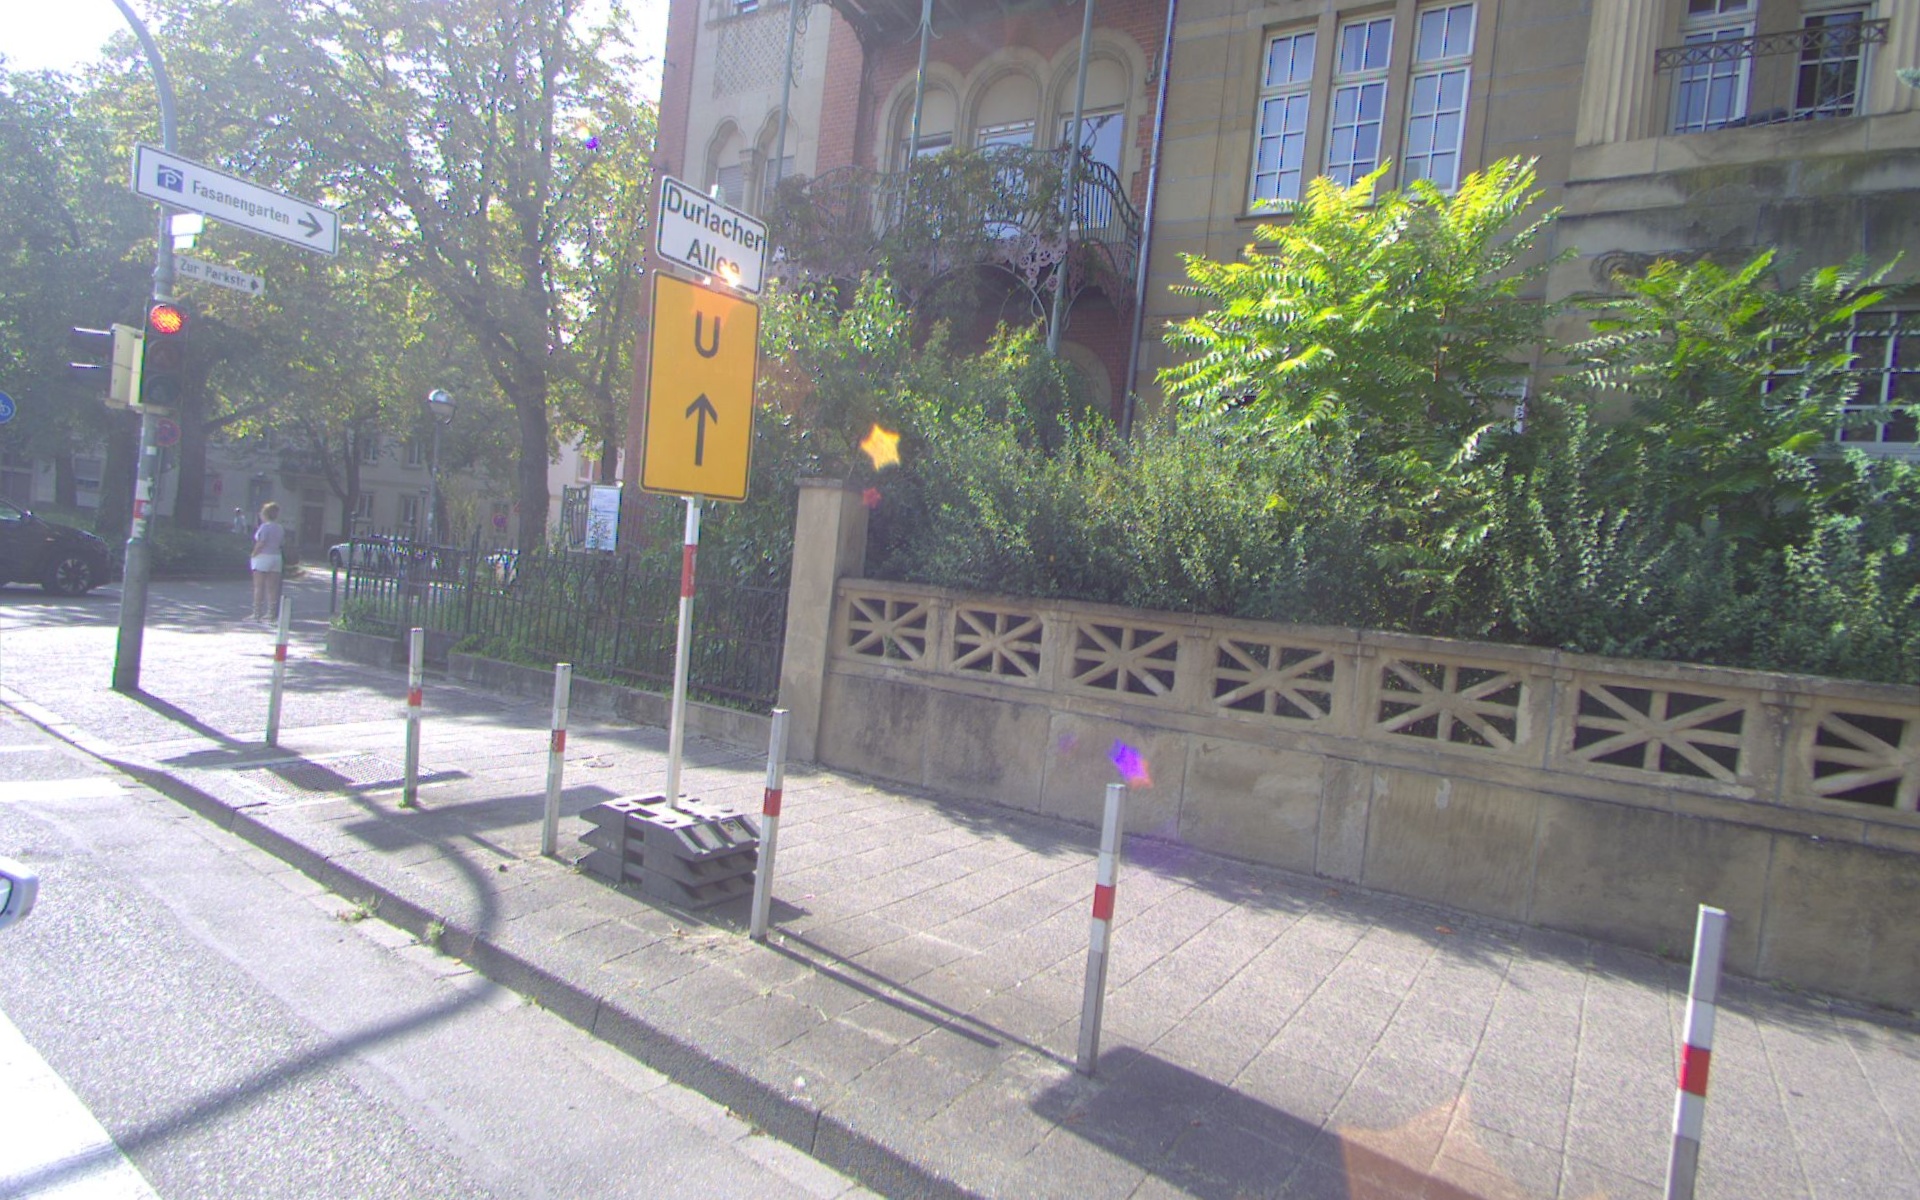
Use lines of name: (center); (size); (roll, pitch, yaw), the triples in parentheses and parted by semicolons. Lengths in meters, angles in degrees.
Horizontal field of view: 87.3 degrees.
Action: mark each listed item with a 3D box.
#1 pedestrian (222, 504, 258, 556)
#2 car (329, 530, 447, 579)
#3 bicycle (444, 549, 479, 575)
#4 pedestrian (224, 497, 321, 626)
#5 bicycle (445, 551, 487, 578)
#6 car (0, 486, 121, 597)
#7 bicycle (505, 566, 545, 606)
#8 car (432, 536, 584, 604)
pedestrian: (-26.298, -2.546, 36.749); (0.887, 1.762, 0.767); (5, 1, -40)
car: (-22.307, -1.773, 39.233); (4.070, 1.447, 1.757); (7, 1, 22)
bicycle: (-22.377, -1.691, 45.192); (0.417, 1.052, 1.556); (6, 1, 13)
pedestrian: (-9.980, -0.549, 14.615); (0.757, 1.753, 0.752); (6, 1, 22)
bicycle: (-21.566, -1.554, 43.929); (1.545, 0.990, 0.420); (6, 1, -44)
car: (-14.540, -0.934, 14.029); (1.581, 1.534, 4.229); (7, 1, 10)
bicycle: (-11.503, -0.379, 26.625); (0.418, 0.990, 1.767); (6, 1, -8)
car: (-14.064, -0.873, 31.668); (1.835, 1.483, 4.790); (12, 0, 10)
